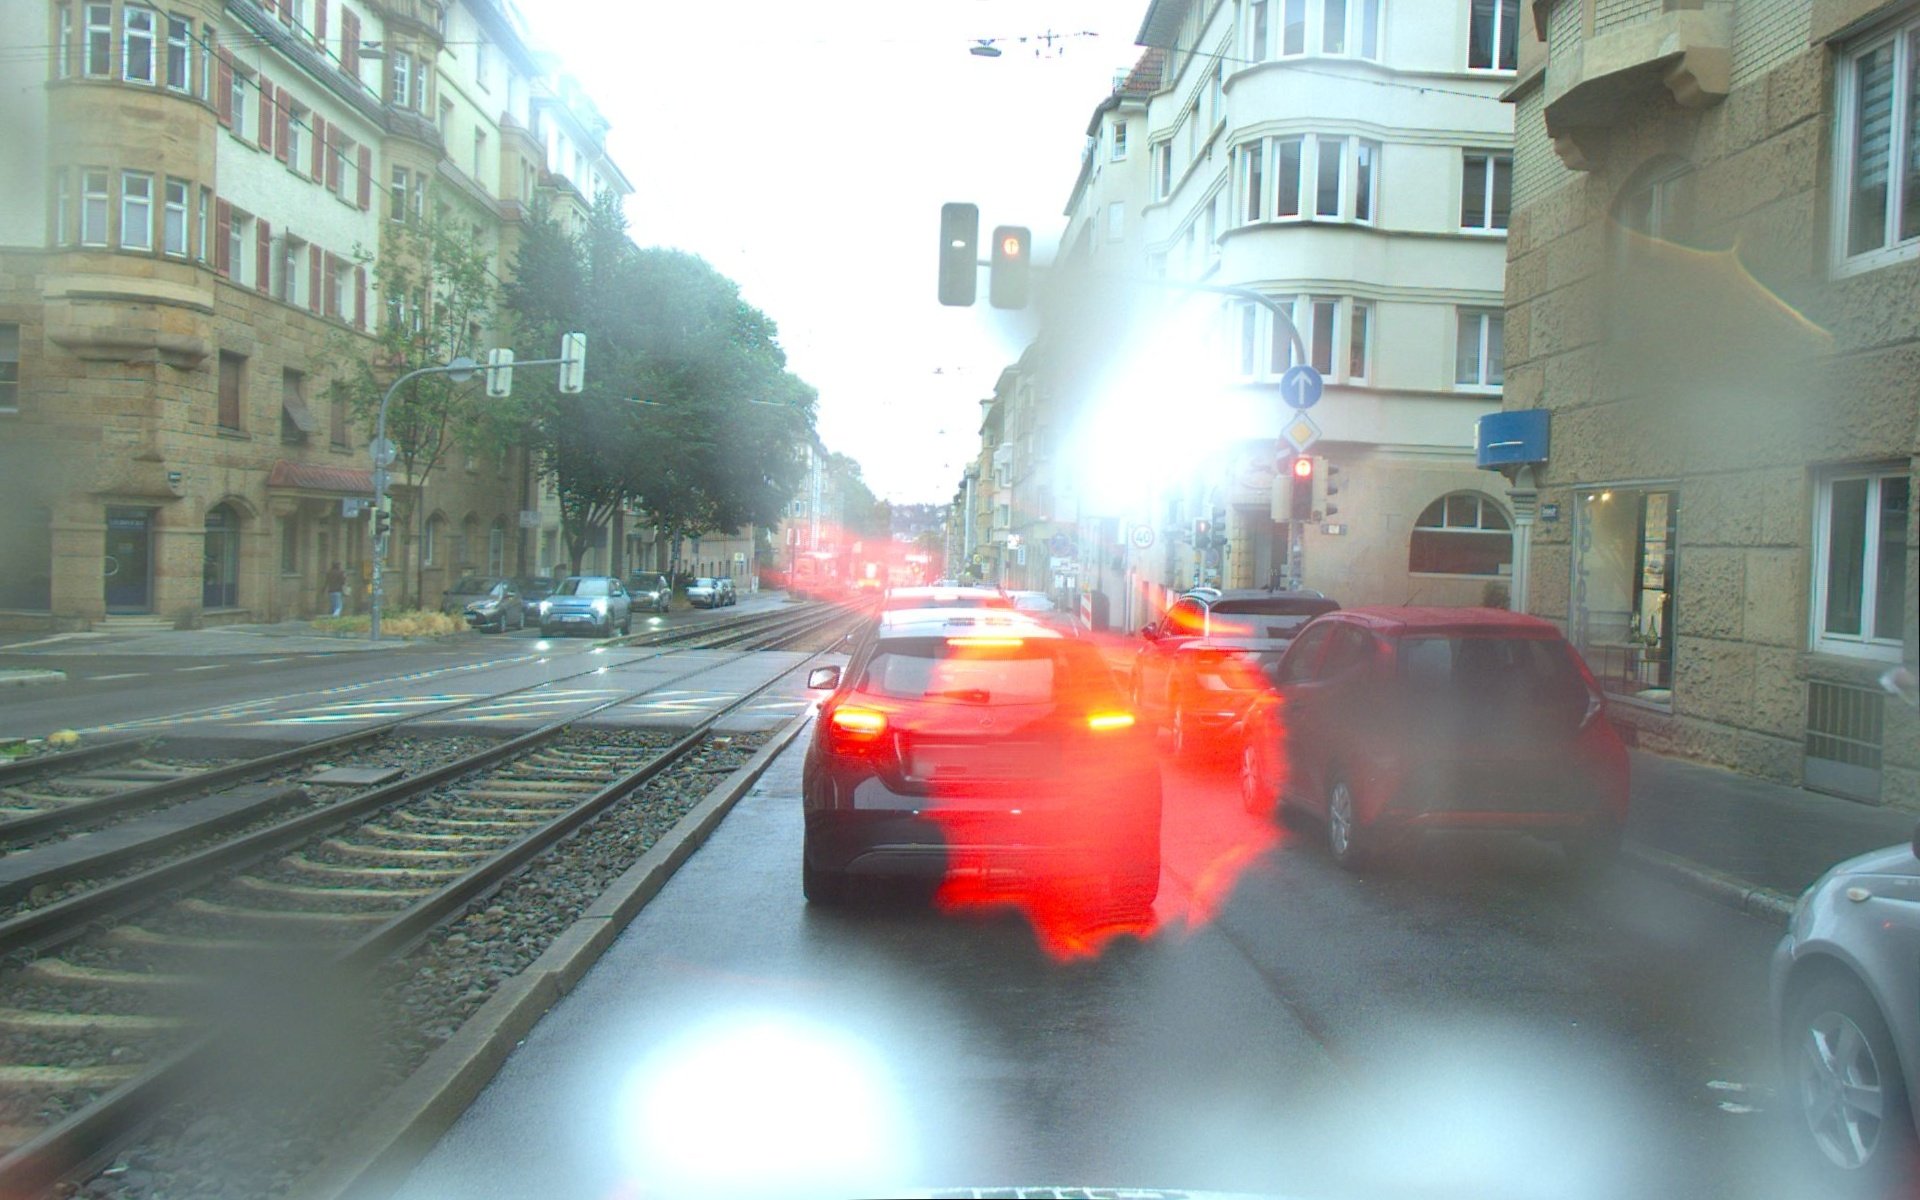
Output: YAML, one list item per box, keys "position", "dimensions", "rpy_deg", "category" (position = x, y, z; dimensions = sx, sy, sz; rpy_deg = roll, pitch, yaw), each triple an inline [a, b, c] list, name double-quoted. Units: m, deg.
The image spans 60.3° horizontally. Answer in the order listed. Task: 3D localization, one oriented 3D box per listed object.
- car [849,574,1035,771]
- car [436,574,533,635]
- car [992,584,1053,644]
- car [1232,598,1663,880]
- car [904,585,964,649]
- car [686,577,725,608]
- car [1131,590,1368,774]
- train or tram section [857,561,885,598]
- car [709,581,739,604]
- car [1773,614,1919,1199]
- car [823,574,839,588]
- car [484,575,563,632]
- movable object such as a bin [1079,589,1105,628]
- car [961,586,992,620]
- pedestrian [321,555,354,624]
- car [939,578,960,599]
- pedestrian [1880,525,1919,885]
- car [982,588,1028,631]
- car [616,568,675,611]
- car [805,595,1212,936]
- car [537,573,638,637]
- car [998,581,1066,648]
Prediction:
- position: [-0.180, 0.620, 15.829]
  dimensions: [1.533, 1.637, 3.813]
  rpy_deg: [1, 0, -1]
  category: "car"
- position: [-13.019, 0.126, 45.489]
  dimensions: [1.718, 1.579, 4.032]
  rpy_deg: [1, 0, -4]
  category: "car"
- position: [1.761, 0.379, 47.135]
  dimensions: [1.513, 1.618, 3.547]
  rpy_deg: [1, 0, -1]
  category: "car"
- position: [2.903, 0.753, 10.556]
  dimensions: [1.609, 1.473, 3.297]
  rpy_deg: [1, 0, -3]
  category: "car"
- position: [-0.746, 0.450, 45.568]
  dimensions: [1.513, 1.664, 3.684]
  rpy_deg: [1, 0, -2]
  category: "car"
- position: [-13.669, -0.386, 88.959]
  dimensions: [1.557, 1.608, 3.917]
  rpy_deg: [1, 0, -1]
  category: "car"
- position: [2.627, 0.681, 15.791]
  dimensions: [1.513, 1.512, 3.829]
  rpy_deg: [1, 0, -1]
  category: "car"
- position: [-10.077, -2.268, 188.462]
  dimensions: [2.726, 3.928, 10.427]
  rpy_deg: [1, 0, -1]
  category: "train or tram section"
- position: [-14.037, -0.443, 98.364]
  dimensions: [1.419, 1.354, 3.270]
  rpy_deg: [1, 0, -3]
  category: "car"
- position: [3.121, 0.792, 3.096]
  dimensions: [1.581, 1.493, 3.312]
  rpy_deg: [0, 0, 0]
  category: "car"
- position: [-12.192, -1.770, 155.933]
  dimensions: [1.349, 1.271, 3.296]
  rpy_deg: [1, 0, -2]
  category: "car"
- position: [-13.284, 0.107, 50.515]
  dimensions: [1.683, 1.639, 3.914]
  rpy_deg: [1, 0, -5]
  category: "car"
- position: [4.755, 0.305, 59.639]
  dimensions: [0.859, 1.413, 0.983]
  rpy_deg: [1, -1, 3]
  category: "movable object such as a bin"
- position: [0.713, 0.133, 73.601]
  dimensions: [1.268, 1.467, 2.928]
  rpy_deg: [1, 0, -1]
  category: "car"
- position: [-15.644, -0.264, 41.586]
  dimensions: [0.619, 1.702, 0.701]
  rpy_deg: [1, -1, -8]
  category: "pedestrian"
- position: [-1.006, -1.110, 158.349]
  dimensions: [1.953, 1.909, 3.999]
  rpy_deg: [1, 0, -1]
  category: "car"
- position: [5.114, 0.523, 7.964]
  dimensions: [0.726, 1.778, 1.111]
  rpy_deg: [1, -1, -1]
  category: "pedestrian"
- position: [1.655, 0.327, 61.544]
  dimensions: [1.513, 1.512, 3.547]
  rpy_deg: [1, 0, -1]
  category: "car"
- position: [-13.571, -0.415, 71.498]
  dimensions: [1.837, 1.767, 3.917]
  rpy_deg: [1, 0, -1]
  category: "car"
- position: [0.188, 0.735, 9.446]
  dimensions: [1.792, 1.483, 4.103]
  rpy_deg: [1, 0, -1]
  category: "car"
- position: [-10.054, 0.143, 44.920]
  dimensions: [1.860, 1.615, 3.972]
  rpy_deg: [1, 0, -1]
  category: "car"
- position: [1.832, 0.353, 42.661]
  dimensions: [1.513, 1.618, 3.547]
  rpy_deg: [1, 0, -1]
  category: "car"
